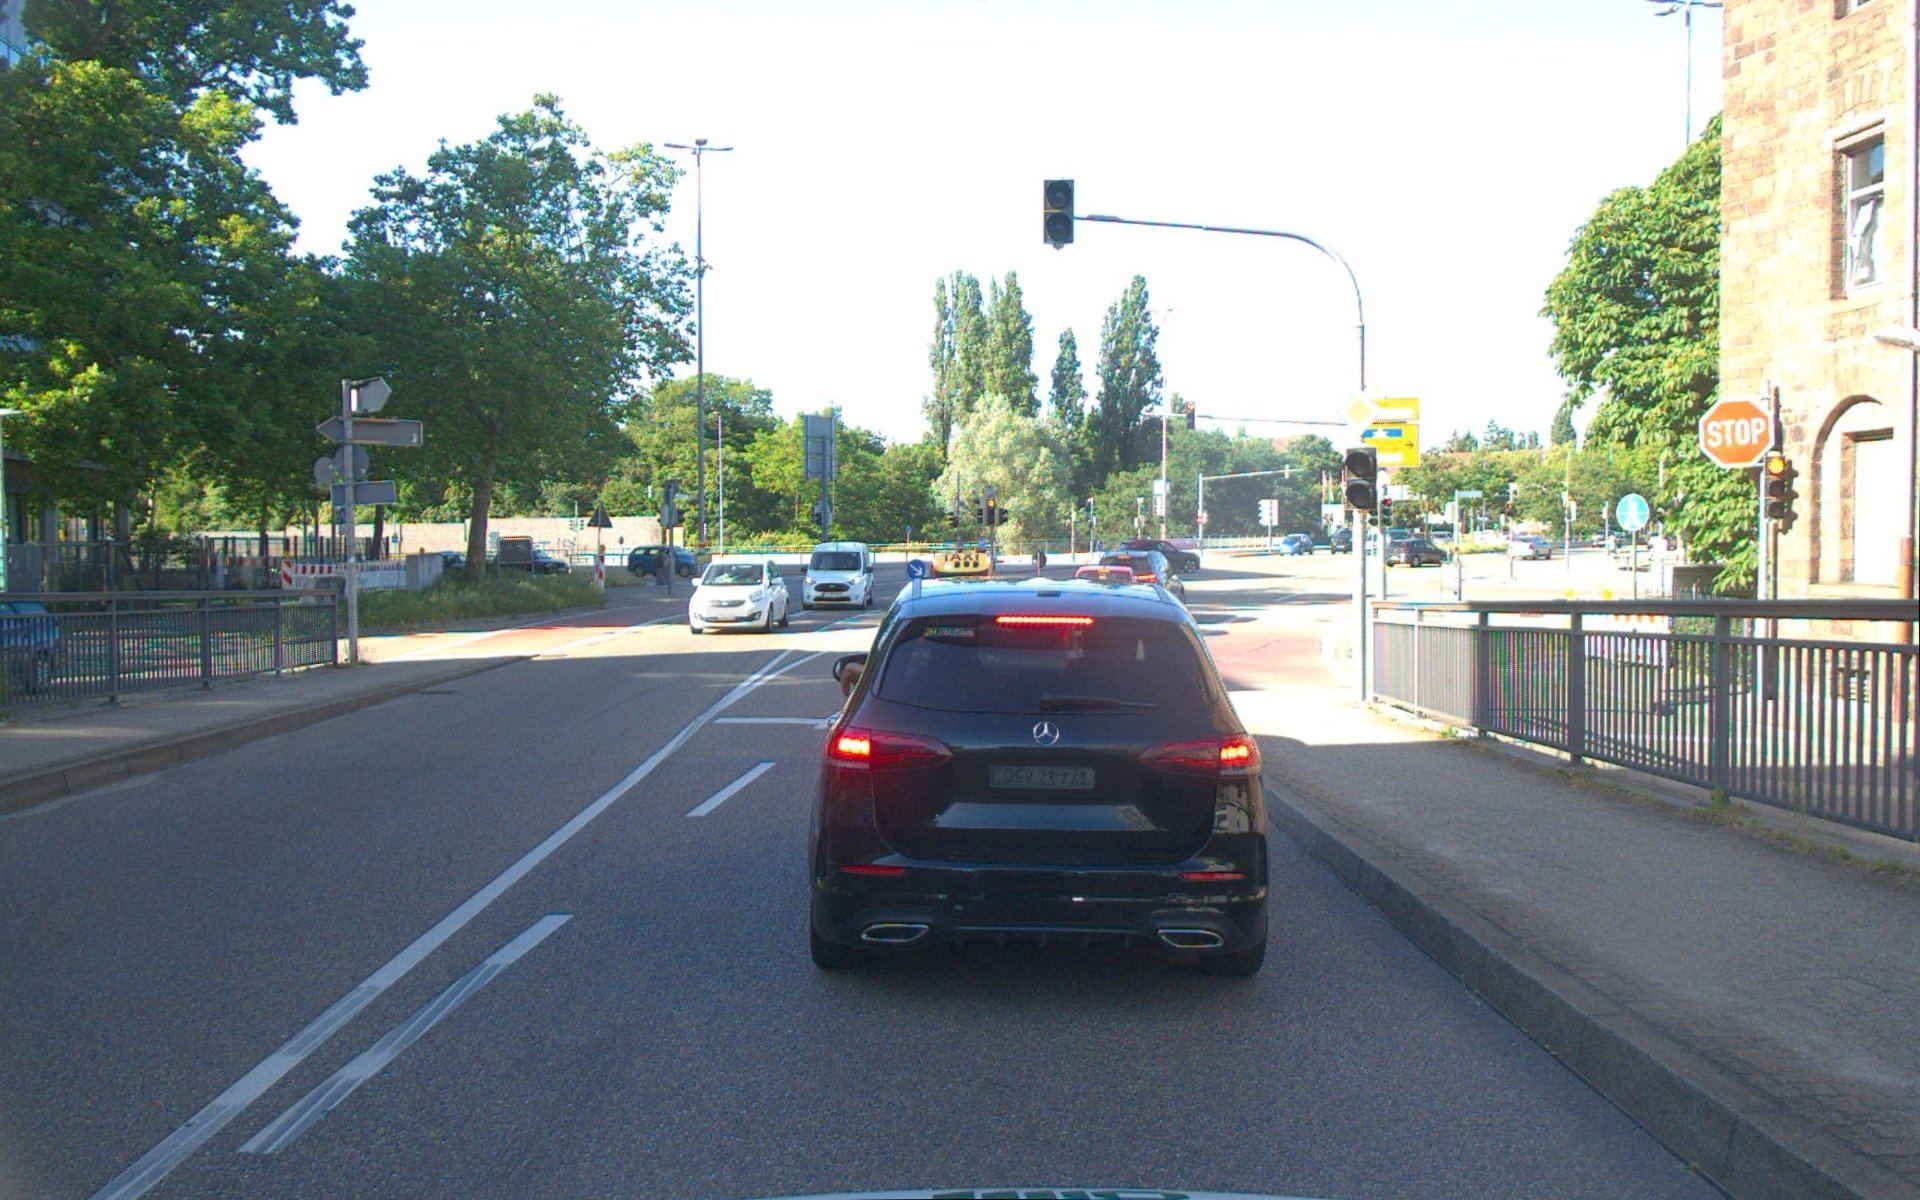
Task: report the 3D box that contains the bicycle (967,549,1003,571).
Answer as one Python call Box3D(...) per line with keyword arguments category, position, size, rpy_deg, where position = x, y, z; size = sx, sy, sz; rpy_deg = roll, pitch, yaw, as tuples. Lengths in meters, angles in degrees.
Box3D(category="bicycle", position=(1.307, -2.103, 86.882), size=(1.970, 1.068, 0.520), rpy_deg=(-3, 2, -38))

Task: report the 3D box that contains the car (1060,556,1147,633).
Box3D(category="car", position=(3.263, -0.168, 37.169), size=(1.685, 1.548, 3.490), rpy_deg=(0, 3, 9))

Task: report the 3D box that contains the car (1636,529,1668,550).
Box3D(category="car", position=(55.277, -4.814, 132.089), size=(1.707, 1.524, 3.990), rpy_deg=(0, 0, 32))

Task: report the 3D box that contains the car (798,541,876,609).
Box3D(category="car", position=(-3.486, -0.768, 47.805), size=(1.879, 1.825, 4.899), rpy_deg=(-1, 2, 0))

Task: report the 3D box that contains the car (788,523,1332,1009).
Box3D(category="car", position=(0.297, 0.541, 7.646), size=(1.840, 1.641, 3.999), rpy_deg=(1, 1, -2))

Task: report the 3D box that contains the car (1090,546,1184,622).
Box3D(category="car", position=(4.635, -0.453, 42.807), size=(1.685, 1.843, 4.301), rpy_deg=(0, 2, 16))

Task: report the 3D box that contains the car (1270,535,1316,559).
Box3D(category="car", position=(23.855, -3.801, 118.440), size=(1.846, 1.605, 3.988), rpy_deg=(1, 3, 34))

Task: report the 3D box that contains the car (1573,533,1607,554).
Box3D(category="car", position=(52.003, -4.655, 136.527), size=(1.851, 1.574, 3.990), rpy_deg=(1, 0, 32))

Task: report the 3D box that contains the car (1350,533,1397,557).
Box3D(category="car", position=(28.296, -3.750, 113.138), size=(1.846, 1.605, 3.988), rpy_deg=(1, 3, 34))

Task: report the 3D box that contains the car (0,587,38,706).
Box3D(category="car", position=(-15.001, 0.736, 23.321), size=(1.814, 1.722, 4.000), rpy_deg=(0, 2, -1))

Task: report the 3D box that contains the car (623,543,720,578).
Box3D(category="car", position=(-14.031, -1.897, 80.464), size=(4.306, 1.658, 1.891), rpy_deg=(0, 2, 22))

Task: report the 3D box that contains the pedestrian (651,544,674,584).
Box3D(category="pedestrian", position=(-11.773, -1.424, 65.393), size=(0.690, 1.552, 0.744), rpy_deg=(1, 1, 9))

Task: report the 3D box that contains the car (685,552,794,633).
Box3D(category="car", position=(-4.848, -0.222, 36.904), size=(1.741, 1.663, 4.002), rpy_deg=(-1, 2, 2))

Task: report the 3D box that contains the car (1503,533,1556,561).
Box3D(category="car", position=(34.562, -3.185, 100.334), size=(1.855, 1.658, 3.982), rpy_deg=(1, 2, 38))

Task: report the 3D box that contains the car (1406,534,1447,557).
Box3D(category="car", position=(35.145, -4.112, 124.602), size=(1.846, 1.605, 3.988), rpy_deg=(1, 3, 34))

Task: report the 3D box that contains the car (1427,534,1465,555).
Box3D(category="car", position=(38.980, -4.431, 132.639), size=(1.846, 1.605, 3.988), rpy_deg=(1, 3, 34))

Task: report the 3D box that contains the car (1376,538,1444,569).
Box3D(category="car", position=(24.161, -2.495, 88.765), size=(1.859, 1.658, 3.973), rpy_deg=(1, 2, 44))

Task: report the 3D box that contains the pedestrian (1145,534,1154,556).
Box3D(category="pedestrian", position=(13.568, -3.942, 118.518), size=(0.443, 1.613, 0.499), rpy_deg=(0, 2, 39))

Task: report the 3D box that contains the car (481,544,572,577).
Box3D(category="car", position=(-22.107, -1.998, 84.316), size=(4.312, 1.658, 1.889), rpy_deg=(0, 2, 28))

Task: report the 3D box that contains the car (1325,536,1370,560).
Box3D(category="car", position=(27.799, -3.741, 118.664), size=(1.846, 1.605, 3.988), rpy_deg=(1, 3, 34))

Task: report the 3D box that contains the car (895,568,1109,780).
Box3D(category="car", position=(0.350, 0.532, 14.406), size=(1.606, 1.556, 3.475), rpy_deg=(-1, 2, 1))

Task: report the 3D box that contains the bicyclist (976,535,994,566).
Box3D(category="bicyclist", position=(1.305, -2.614, 86.858), size=(0.799, 1.578, 0.520), rpy_deg=(-3, 2, -38))

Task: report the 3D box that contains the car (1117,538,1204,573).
Box3D(category="car", position=(9.735, -2.151, 80.434), size=(3.911, 1.658, 1.888), rpy_deg=(-1, 1, -7))
